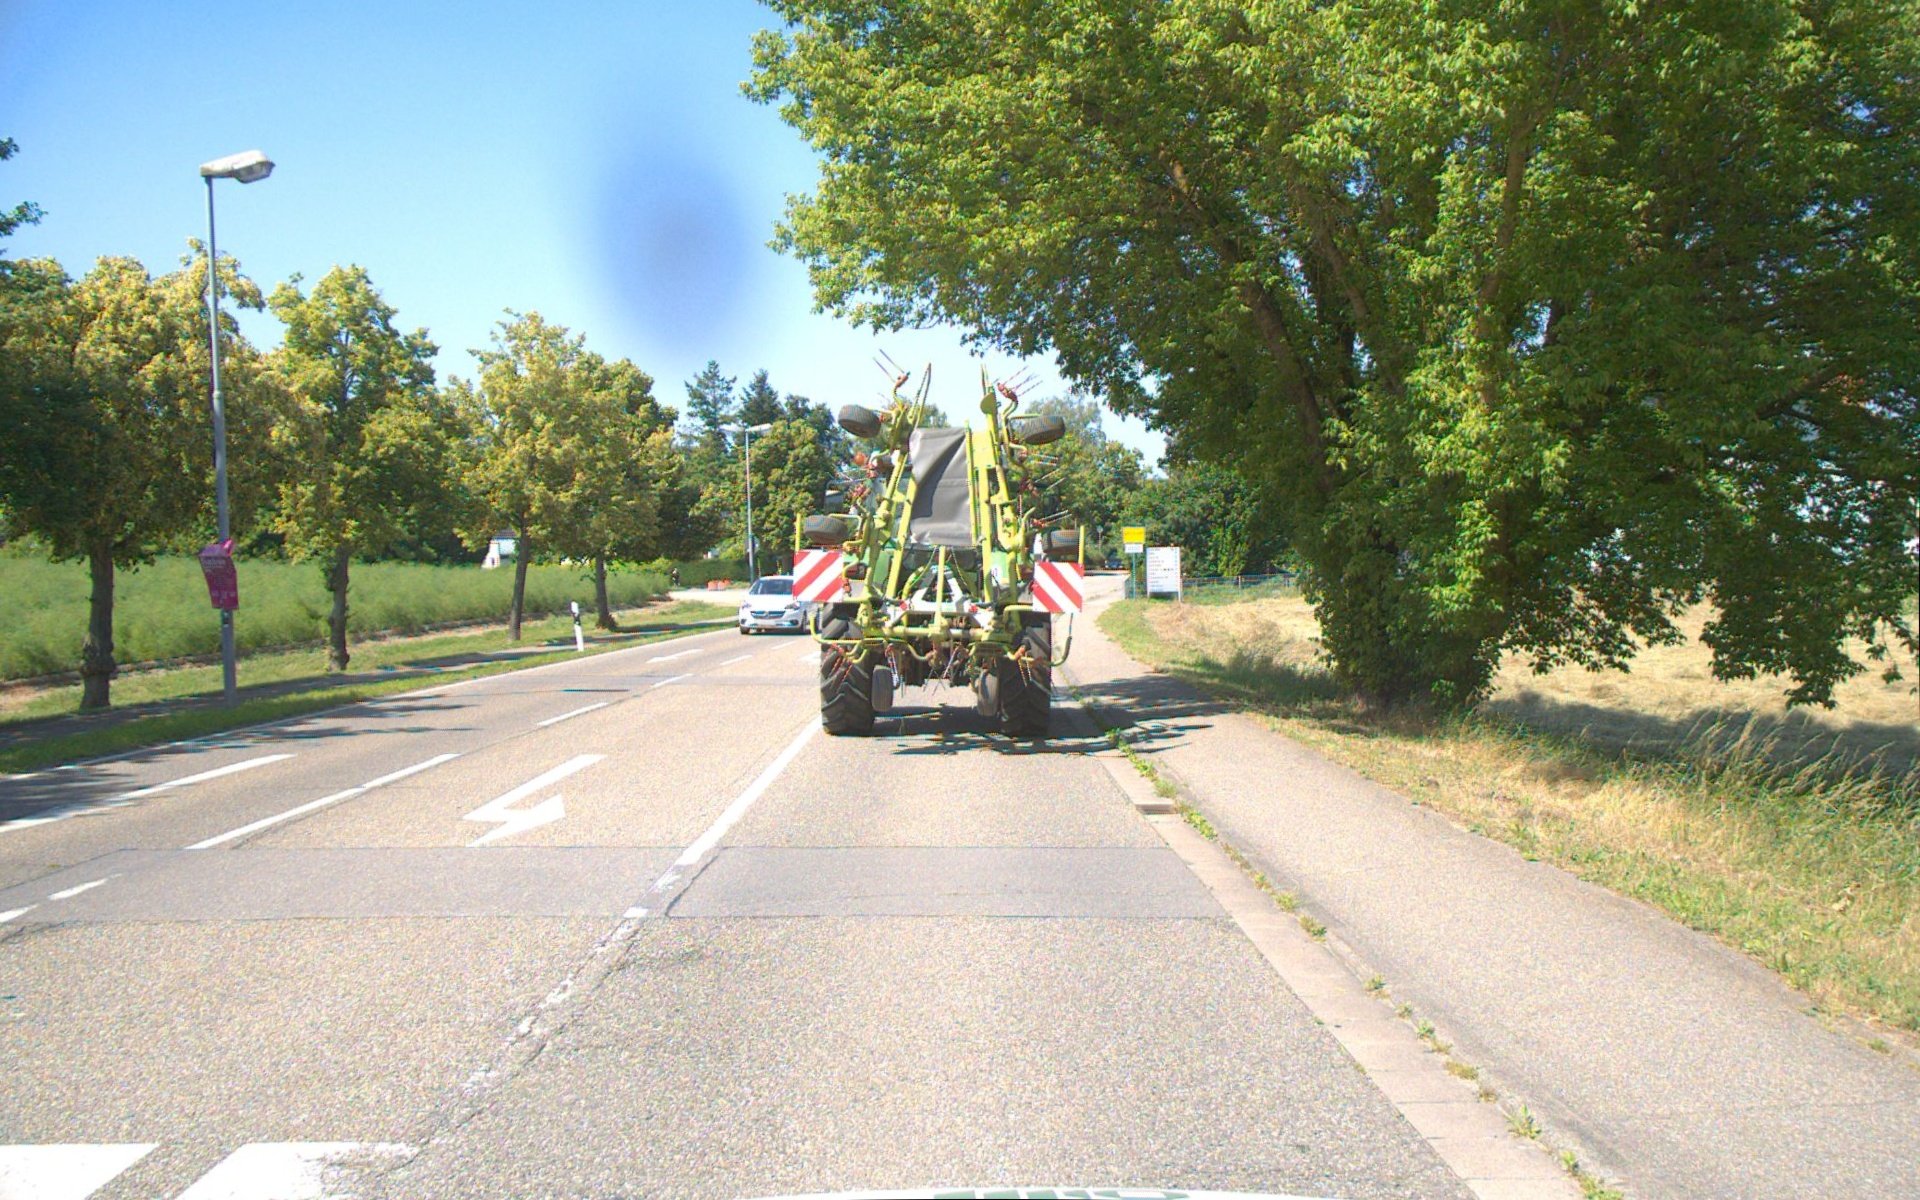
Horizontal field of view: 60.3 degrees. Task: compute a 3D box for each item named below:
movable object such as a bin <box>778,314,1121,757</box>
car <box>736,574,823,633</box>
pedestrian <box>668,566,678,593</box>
[{"bbox_3d":[-0.235,-0.574,18.348,2.795,3.603,9.697,0,1,-2],"label":"movable object such as a bin"},{"bbox_3d":[-4.713,0.060,43.628,1.614,1.459,3.899,1,1,4],"label":"car"},{"bbox_3d":[-19.014,-1.376,109.471,0.538,1.746,0.676,1,3,-3],"label":"pedestrian"}]
